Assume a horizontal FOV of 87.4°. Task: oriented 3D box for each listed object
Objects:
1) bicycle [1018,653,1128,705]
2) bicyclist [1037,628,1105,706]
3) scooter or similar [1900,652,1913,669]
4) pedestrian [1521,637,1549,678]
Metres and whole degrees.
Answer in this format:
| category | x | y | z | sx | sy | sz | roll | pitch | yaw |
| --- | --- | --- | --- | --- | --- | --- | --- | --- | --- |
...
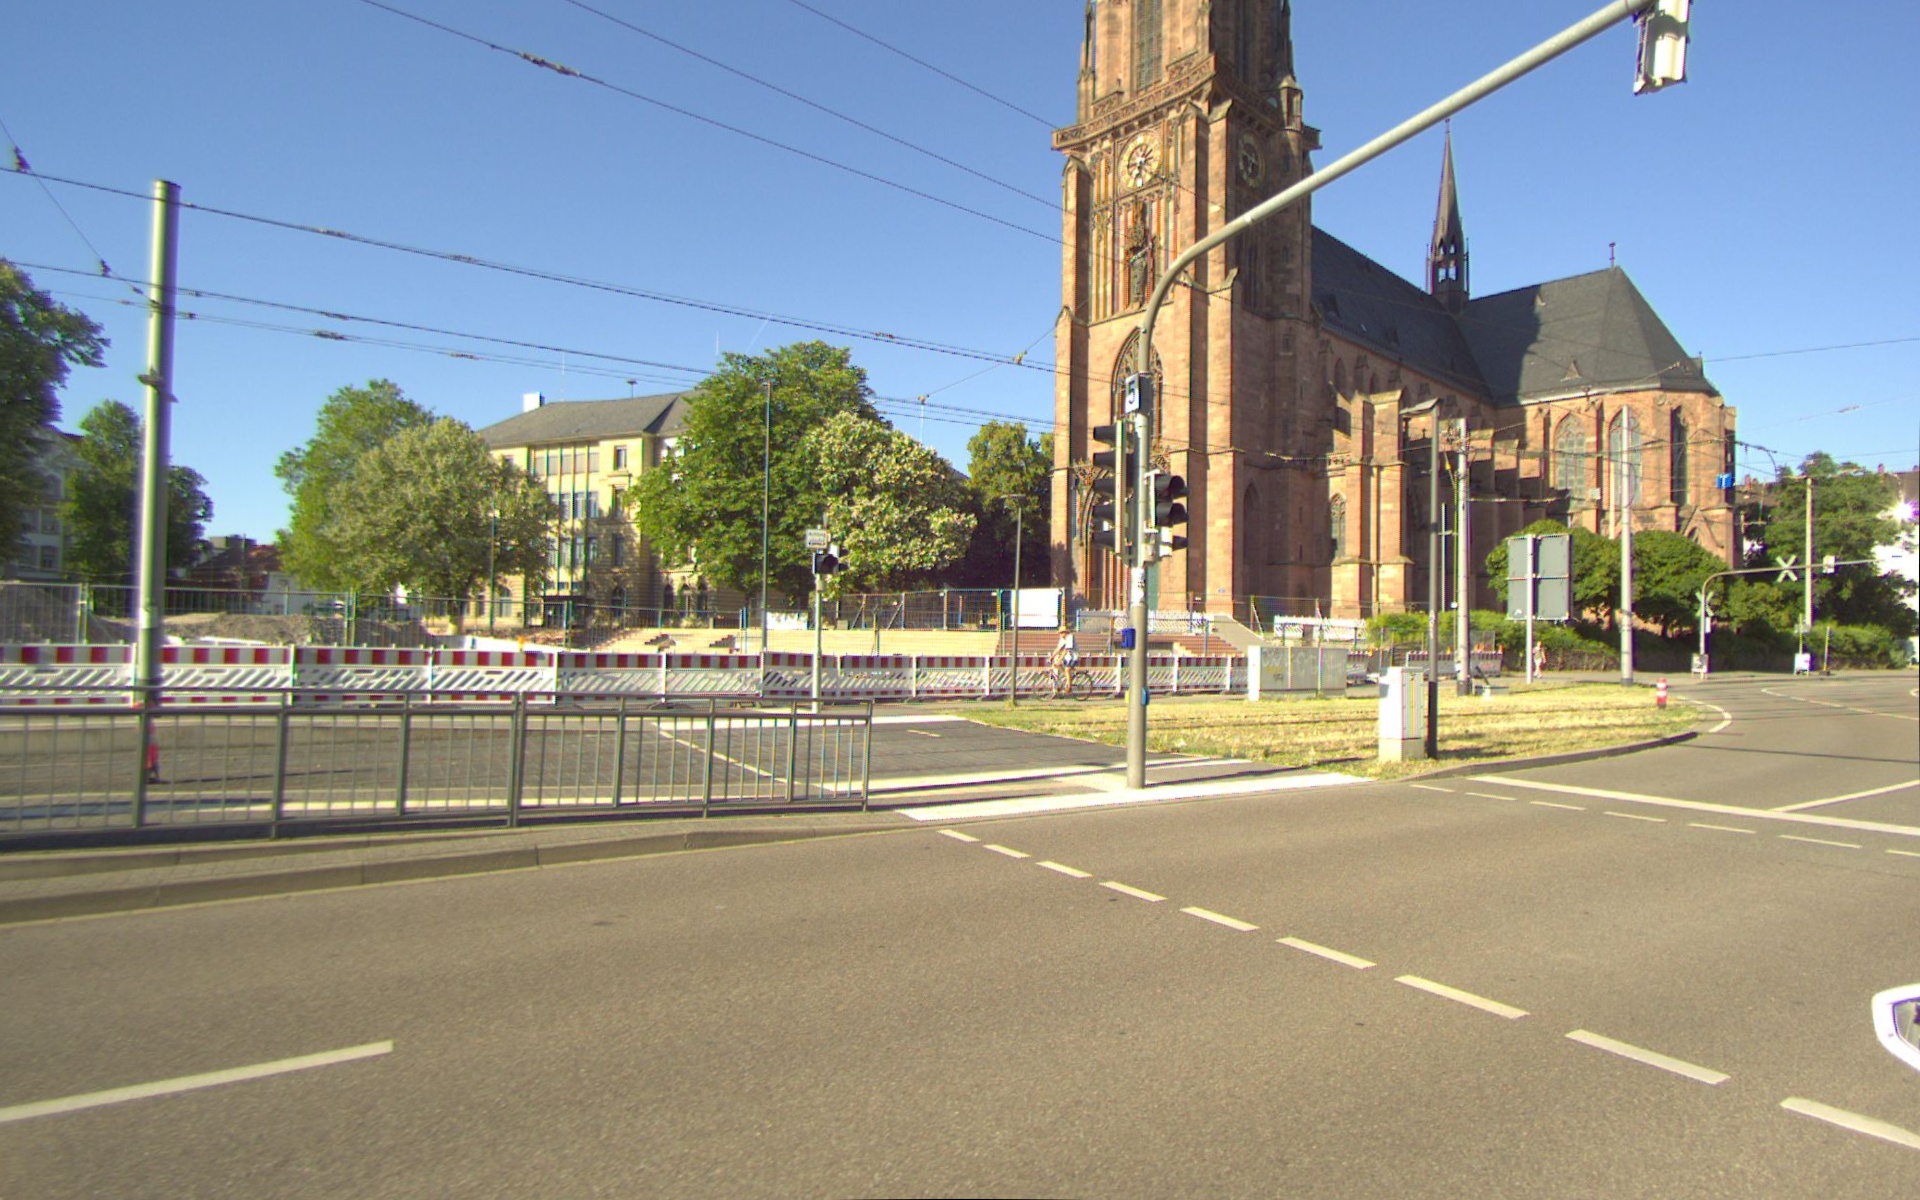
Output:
| category | x | y | z | sx | sy | sz | roll | pitch | yaw |
| --- | --- | --- | --- | --- | --- | --- | --- | --- | --- |
| bicycle | 2.816 | 1.923 | 24.765 | 2.799 | 1.111 | 0.955 | 0 | -2 | -38 |
| bicyclist | 2.727 | 1.622 | 24.709 | 1.307 | 1.832 | 0.955 | -1 | -2 | -38 |
| scooter or similar | 77.039 | 4.936 | 81.793 | 1.216 | 1.278 | 0.399 | -1 | -1 | -31 |
| pedestrian | 25.814 | 2.558 | 45.109 | 0.854 | 1.797 | 0.724 | -1 | -1 | -34 |
